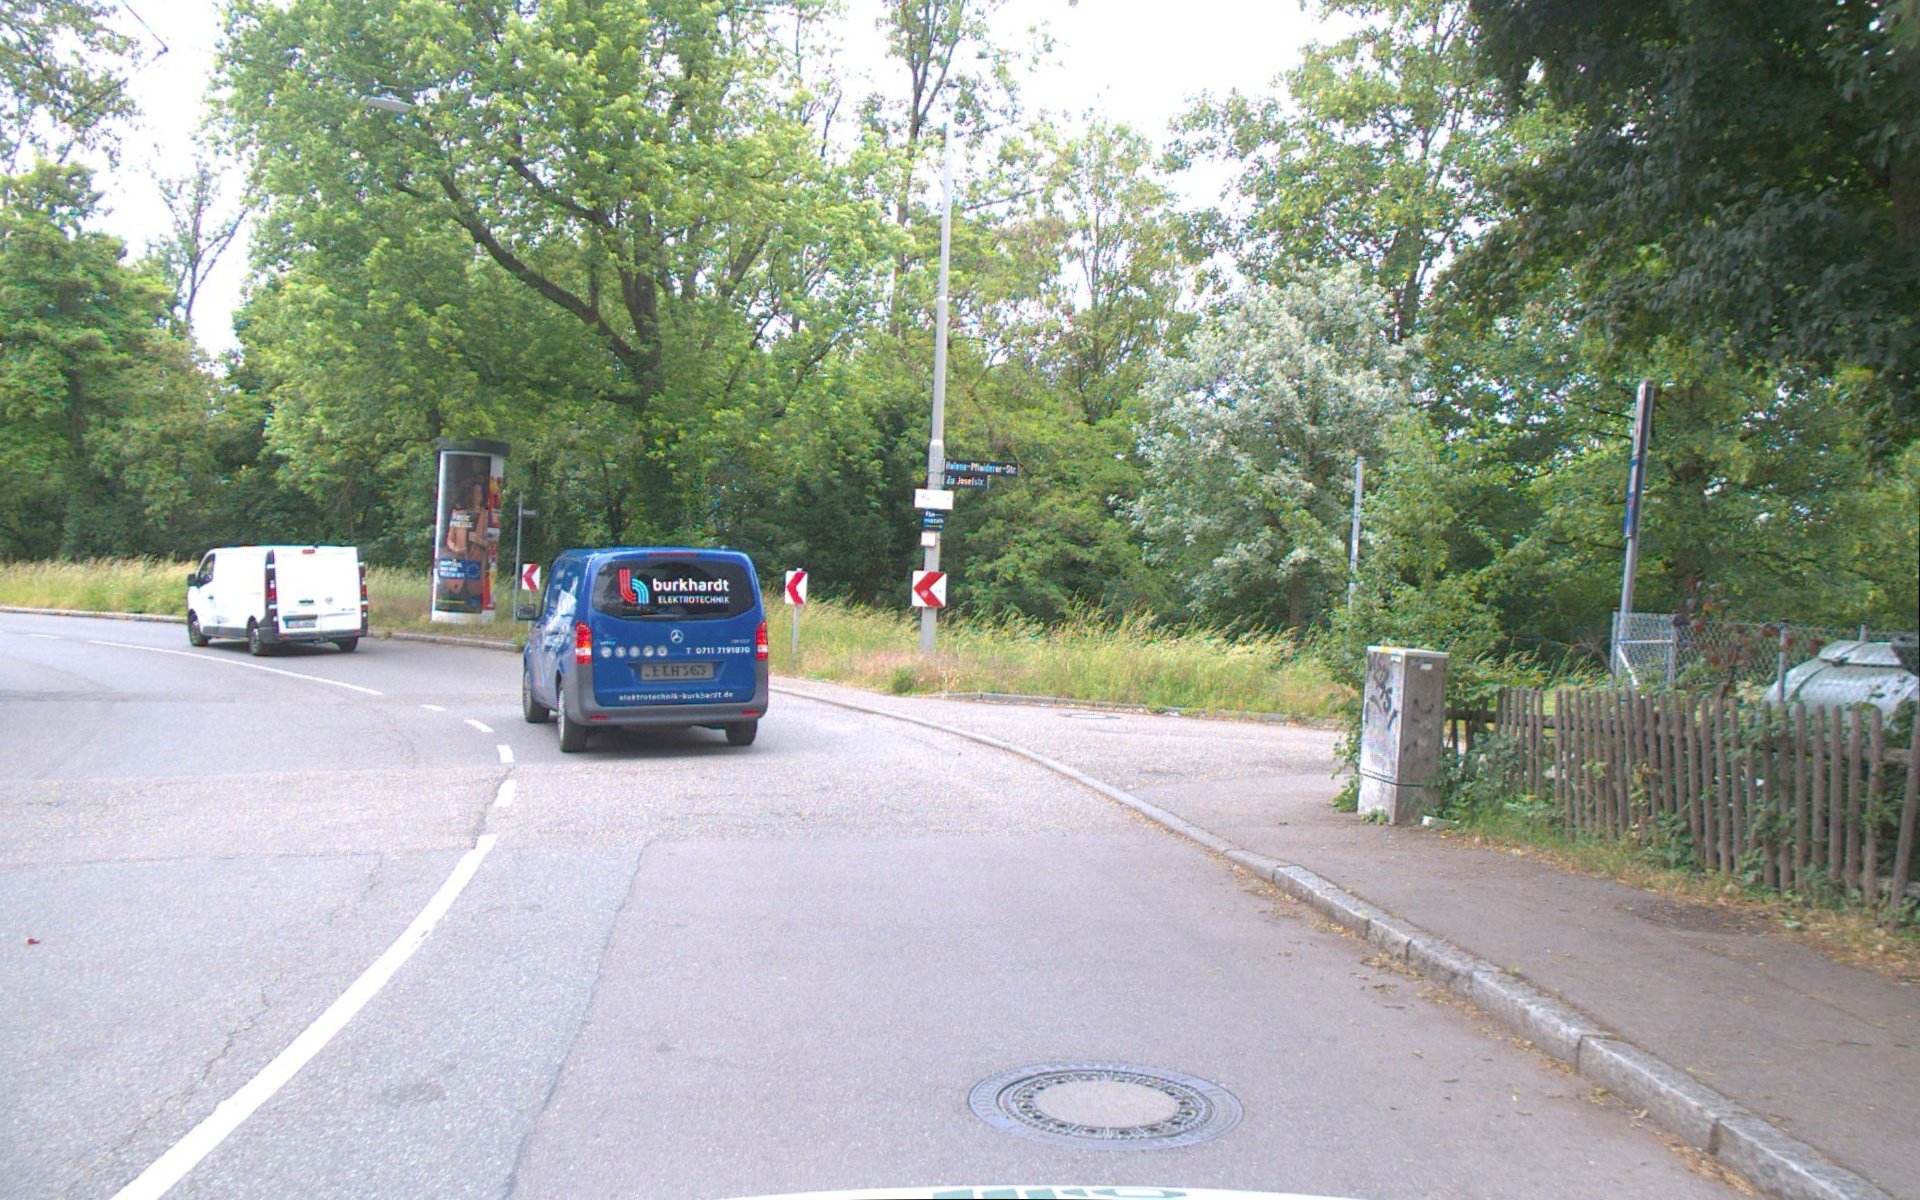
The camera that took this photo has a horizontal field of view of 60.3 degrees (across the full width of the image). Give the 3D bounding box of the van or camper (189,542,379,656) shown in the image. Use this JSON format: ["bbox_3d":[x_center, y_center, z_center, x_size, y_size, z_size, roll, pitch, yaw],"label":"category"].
[{"bbox_3d":[-12.966,-0.068,31.565,2.007,1.991,4.825,-1,1,-40],"label":"van or camper"}]

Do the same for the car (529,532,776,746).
[{"bbox_3d":[-3.244,0.365,16.772,1.884,1.870,4.271,1,-1,-19],"label":"car"}]
